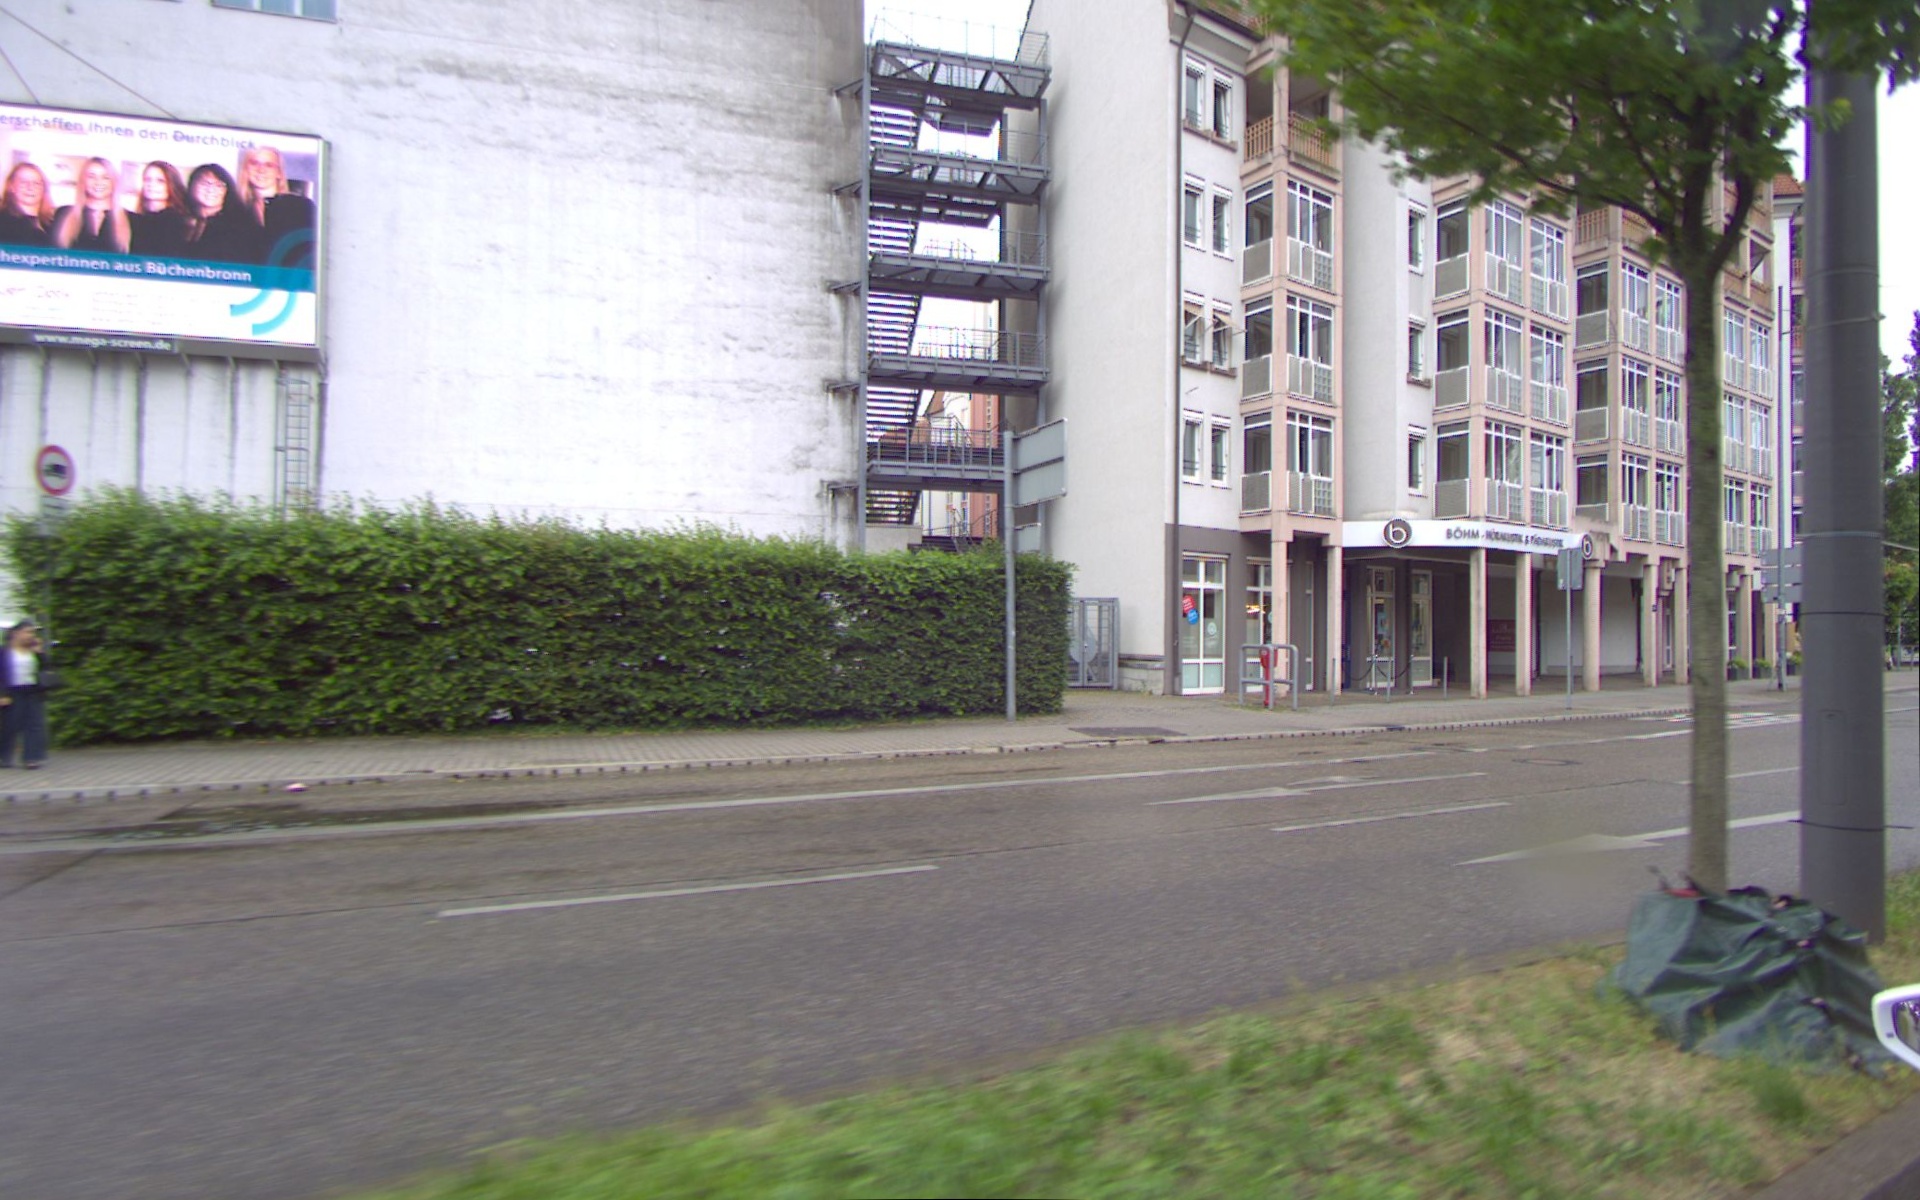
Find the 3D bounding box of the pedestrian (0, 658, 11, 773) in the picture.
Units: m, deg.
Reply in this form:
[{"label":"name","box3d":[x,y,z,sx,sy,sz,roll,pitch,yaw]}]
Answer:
[{"label":"pedestrian","box3d":[-10.056,1.182,10.196,0.495,1.165,0.466,1,-2,-29]}]

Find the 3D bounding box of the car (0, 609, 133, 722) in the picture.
[{"label":"car","box3d":[-14.975,0.965,14.998,3.792,1.646,1.587,1,-2,-31]}]

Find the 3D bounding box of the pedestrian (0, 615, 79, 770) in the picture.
[{"label":"pedestrian","box3d":[-9.822,0.958,10.658,0.558,1.580,0.711,1,-1,-30]}]

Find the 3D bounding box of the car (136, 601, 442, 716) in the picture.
[{"label":"car","box3d":[-9.738,0.855,14.931,3.554,1.530,1.589,2,-2,-27]}]

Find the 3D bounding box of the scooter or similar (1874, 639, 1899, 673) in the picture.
[{"label":"scooter or similar","box3d":[38.801,2.348,42.073,1.557,1.331,0.478,-1,-1,-38]}]

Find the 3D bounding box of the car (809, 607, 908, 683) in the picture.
[{"label":"car","box3d":[-2.651,1.121,25.350,1.921,1.762,3.989,1,-2,-14]}]

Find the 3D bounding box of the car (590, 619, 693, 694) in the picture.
[{"label":"car","box3d":[-7.686,1.315,24.571,1.920,1.596,4.054,2,-1,-11]}]

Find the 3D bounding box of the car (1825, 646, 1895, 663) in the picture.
[{"label":"car","box3d":[73.771,4.459,82.380,1.878,1.406,3.966,2,-3,-32]}]
